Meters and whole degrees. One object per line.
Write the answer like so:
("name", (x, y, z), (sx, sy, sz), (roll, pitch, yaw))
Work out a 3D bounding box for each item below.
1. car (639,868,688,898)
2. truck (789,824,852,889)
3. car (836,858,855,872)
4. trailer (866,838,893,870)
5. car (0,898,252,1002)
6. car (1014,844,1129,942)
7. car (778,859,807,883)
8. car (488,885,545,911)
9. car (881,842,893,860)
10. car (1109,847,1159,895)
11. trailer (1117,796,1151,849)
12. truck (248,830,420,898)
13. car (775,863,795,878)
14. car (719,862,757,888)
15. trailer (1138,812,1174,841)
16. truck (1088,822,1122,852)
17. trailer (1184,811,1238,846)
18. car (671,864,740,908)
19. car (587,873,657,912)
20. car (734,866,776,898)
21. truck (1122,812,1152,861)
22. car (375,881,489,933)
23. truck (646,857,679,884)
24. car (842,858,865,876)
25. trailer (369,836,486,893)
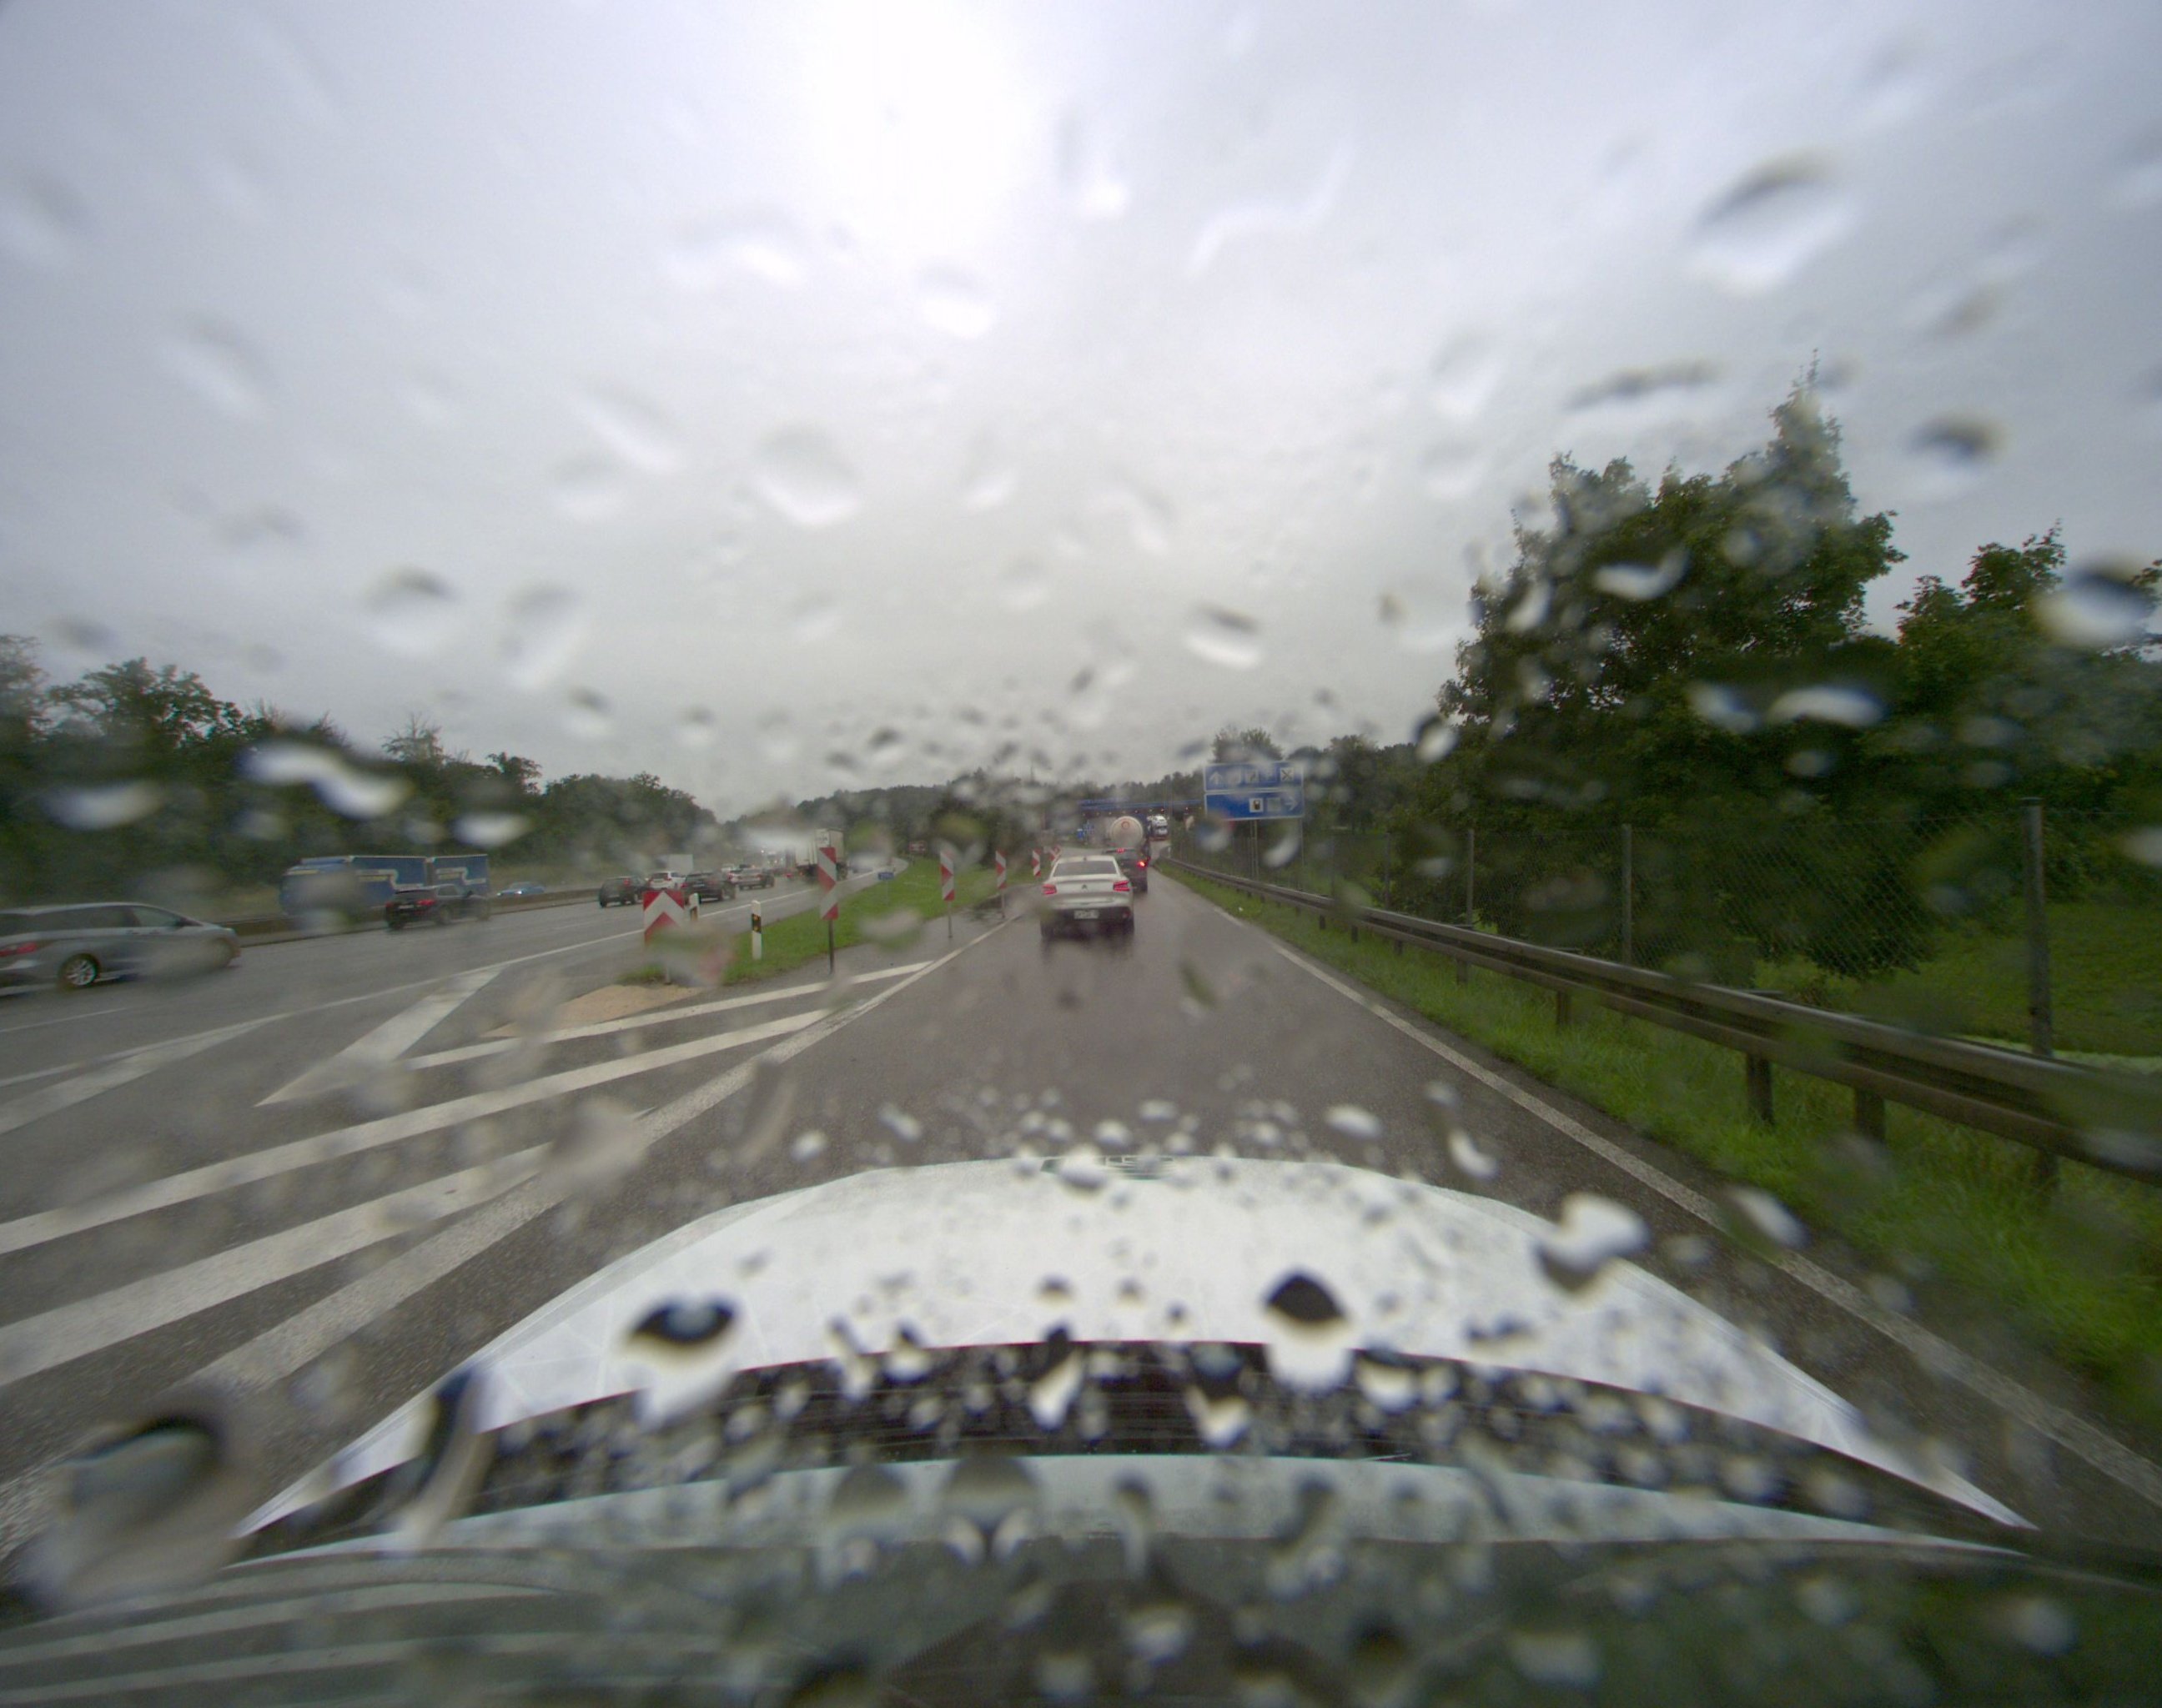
("car", (-30.944, 2.114, 60.518), (1.994, 2.013, 3.986), (-4, 0, -10))
("truck", (-19.688, 0.229, 62.390), (2.850, 4.292, 11.799), (-4, 0, -10))
("car", (-33.567, 1.609, 116.362), (1.993, 1.815, 3.989), (-2, 0, -8))
("trailer", (-31.652, 0.054, 127.402), (3.555, 4.611, 12.056), (-4, 0, -15))
("car", (-19.362, 1.808, 16.070), (1.787, 1.526, 4.324), (-4, 0, -7))
("car", (-0.136, 0.670, 16.257), (1.987, 1.679, 4.000), (-1, 0, 1))
("car", (-26.792, 1.530, 75.745), (1.996, 2.013, 3.981), (-4, 0, -14))
("car", (-45.758, 3.554, 66.131), (1.993, 1.719, 4.356), (-4, 0, -8))
("car", (-39.629, -0.603, 166.239), (2.377, 3.485, 4.790), (0, 0, -15))
("car", (1.965, 0.595, 30.804), (1.736, 1.667, 4.002), (-1, 0, 2))
("trailer", (3.763, -2.128, 56.054), (1.971, 3.224, 10.337), (-3, 2, 5))
("truck", (-48.050, 0.690, 53.010), (3.062, 3.980, 10.517), (1, -1, -11))
("car", (-37.624, 2.067, 103.577), (1.699, 1.786, 3.770), (-4, 0, -12))
("car", (-29.098, 1.746, 69.212), (1.994, 2.013, 3.985), (-3, 0, -11))
("trailer", (11.620, -4.308, 127.698), (3.212, 4.188, 11.504), (-3, 2, -7))
("truck", (3.287, -2.465, 115.809), (2.370, 3.873, 12.418), (-4, 2, -9))
("trailer", (14.667, -2.910, 91.085), (2.110, 3.440, 10.320), (-3, 2, 31))
("car", (-17.077, 1.403, 37.211), (1.776, 1.736, 3.834), (-4, 0, -10))
("car", (-23.736, 1.938, 42.283), (1.775, 1.736, 4.086), (-4, 0, -9))
("car", (-22.298, 1.849, 55.812), (1.789, 1.971, 4.318), (-3, 0, -11))
("truck", (4.345, -1.343, 62.721), (2.043, 3.530, 4.753), (-3, 2, 4))
("car", (-26.376, 2.103, 33.293), (1.776, 1.736, 4.086), (-4, 0, -10))
("truck", (-58.931, 2.286, 114.784), (2.649, 3.451, 5.576), (-3, 0, -13))
("car", (-25.098, 1.386, 90.090), (1.994, 1.815, 3.985), (-3, 0, -11))
("trailer", (-49.951, 0.837, 62.702), (3.092, 4.047, 9.129), (1, -1, -12))
